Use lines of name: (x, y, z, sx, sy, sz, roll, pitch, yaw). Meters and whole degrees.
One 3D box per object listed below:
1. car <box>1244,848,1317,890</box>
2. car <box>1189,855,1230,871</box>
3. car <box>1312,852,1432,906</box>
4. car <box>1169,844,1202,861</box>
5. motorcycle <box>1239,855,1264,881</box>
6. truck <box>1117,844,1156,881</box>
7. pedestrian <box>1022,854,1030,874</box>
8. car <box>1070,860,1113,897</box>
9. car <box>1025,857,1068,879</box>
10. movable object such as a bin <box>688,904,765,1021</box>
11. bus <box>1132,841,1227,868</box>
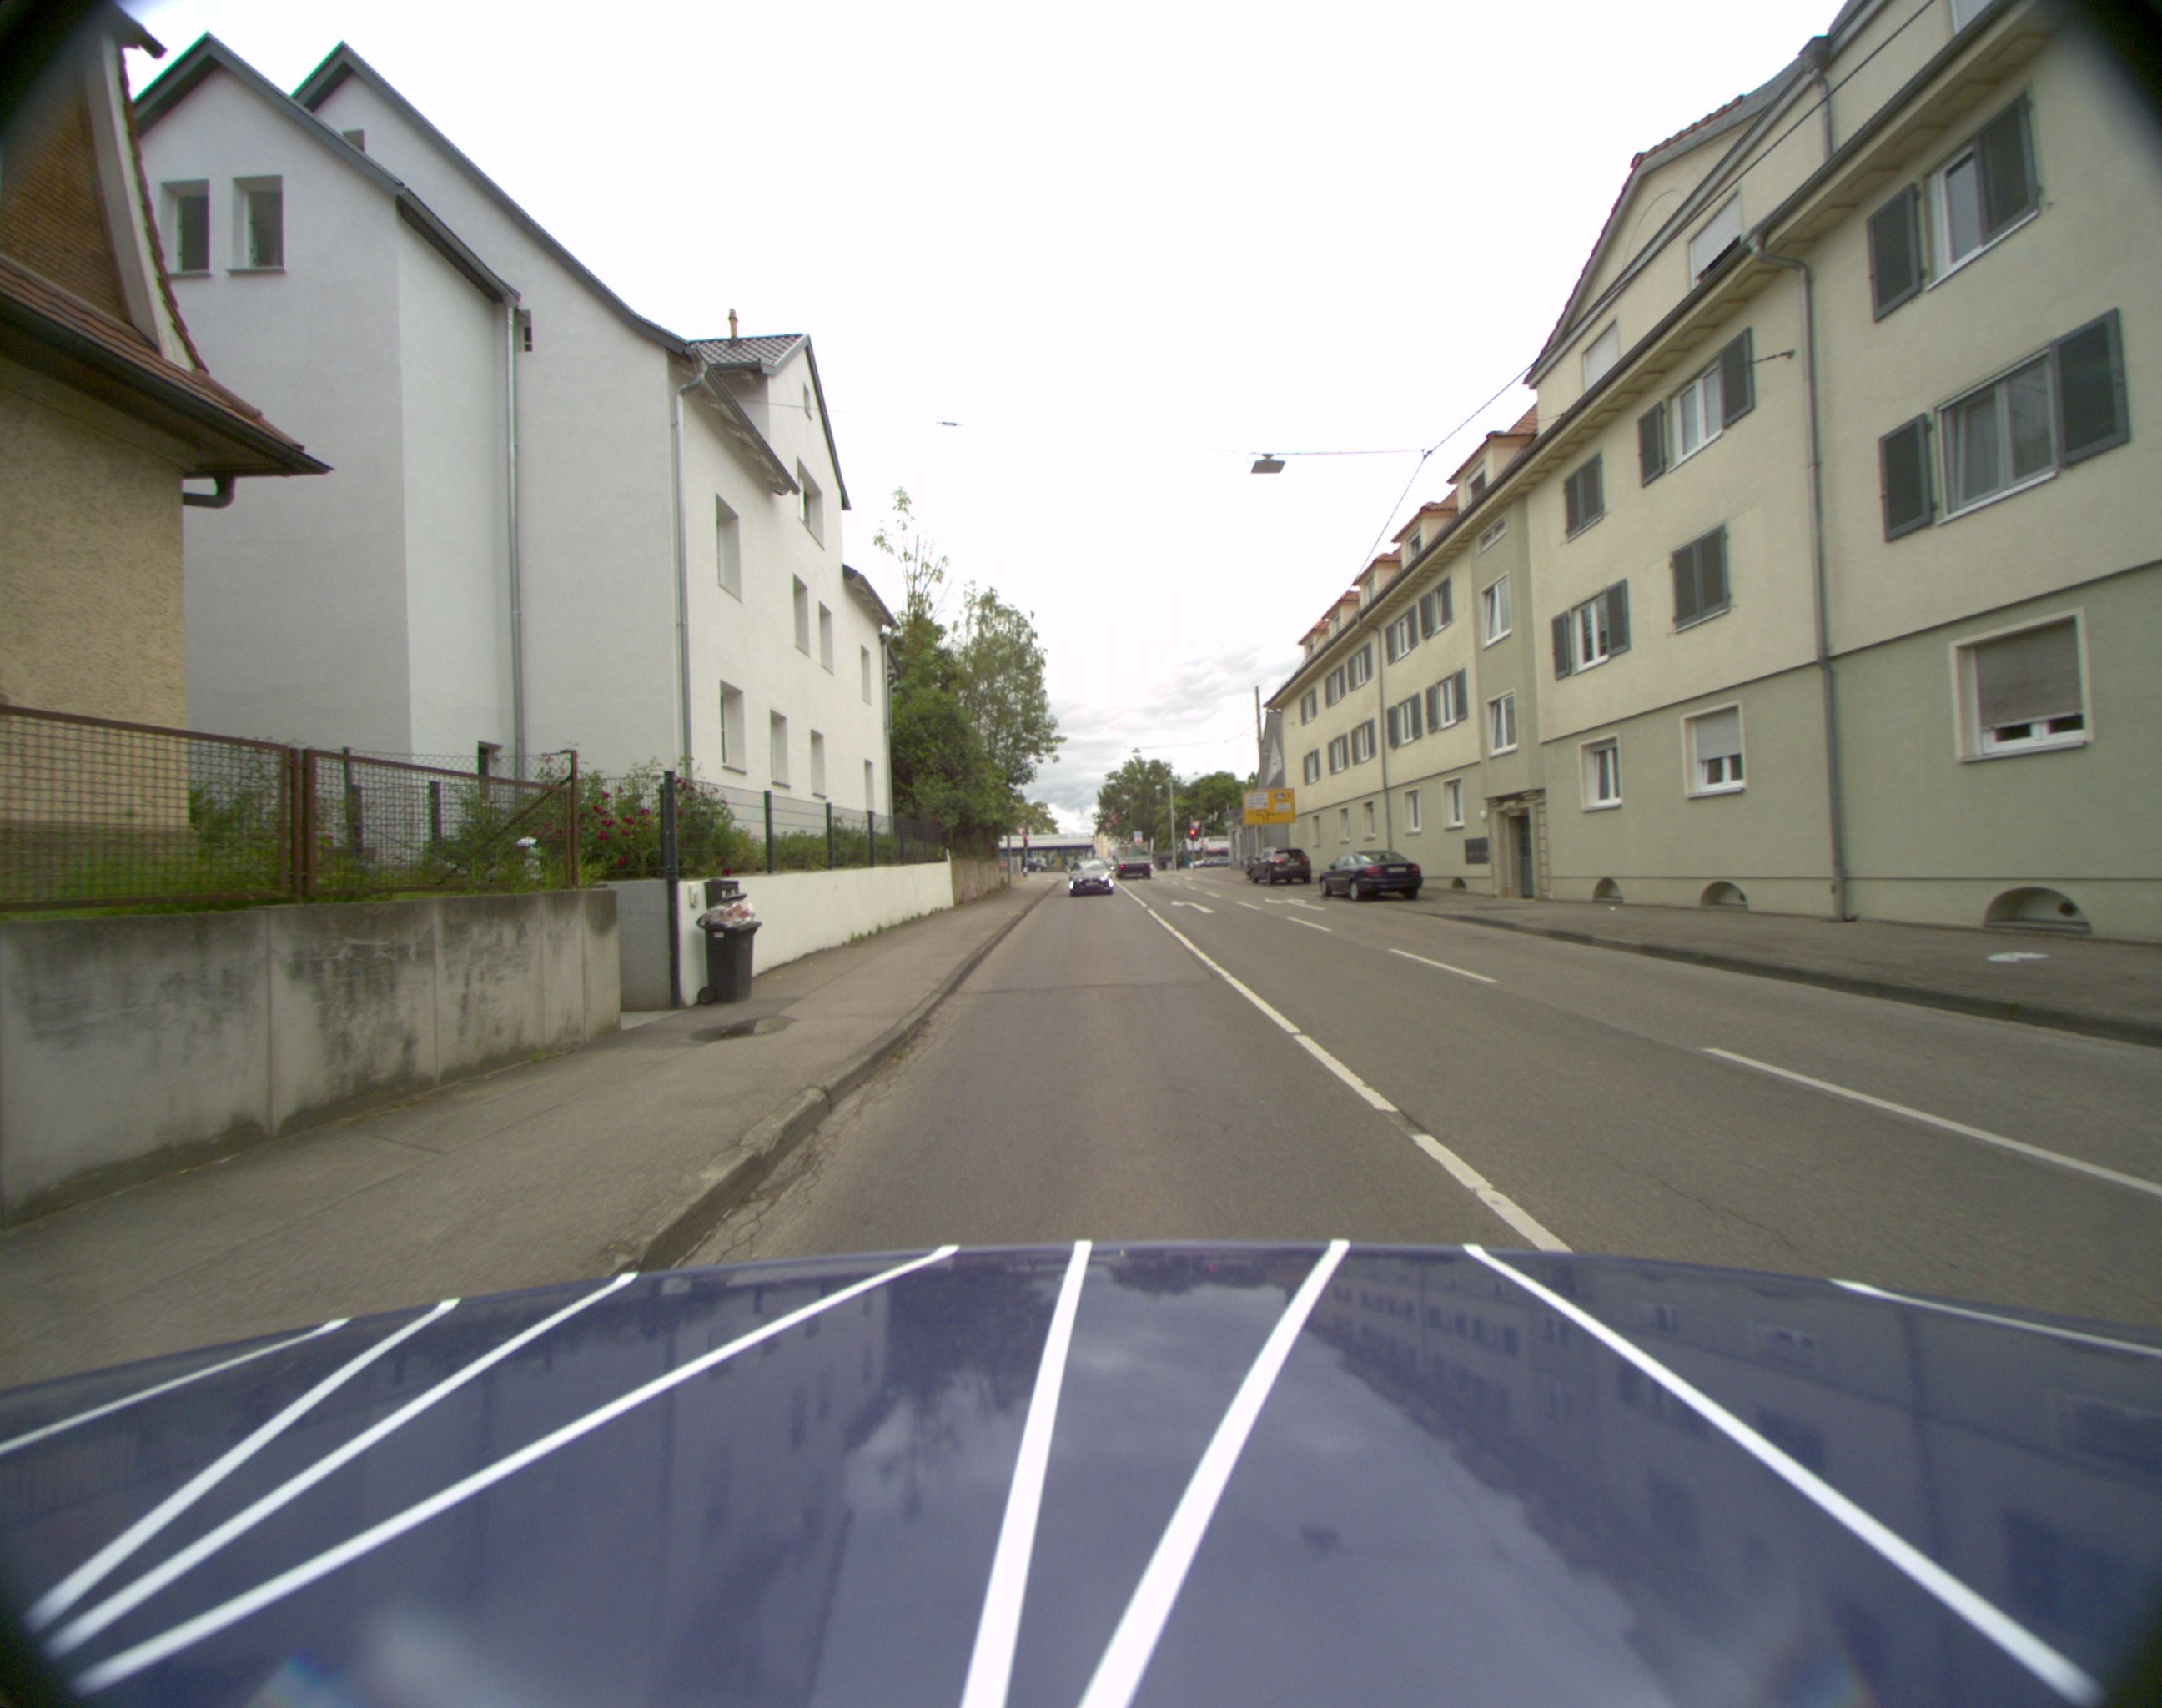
car: (8.676, 0.630, 33.480, 1.826, 1.623, 4.696, -3, 0, -1)
car: (13.652, 0.959, 81.059, 3.997, 1.641, 2.000, -1, 0, -1)
car: (8.535, 0.673, 22.794, 1.715, 1.395, 4.845, -2, 0, 0)
car: (13.988, -0.148, 101.741, 3.998, 2.177, 1.999, -1, 0, -4)
motorcycle: (8.643, 0.695, 38.568, 0.627, 1.283, 2.230, -4, 0, -1)
truck: (3.555, 0.526, 50.001, 2.126, 2.188, 6.590, -2, 0, 1)
pedestrian: (-4.267, 0.778, 58.667, 0.553, 1.581, 0.672, 1, 0, -2)
car: (0.398, 0.955, 31.105, 1.646, 1.390, 3.781, -1, 0, 0)
car: (-3.325, 1.308, 73.383, 3.998, 2.002, 1.999, -2, 0, -2)
movable object such as a bin: (-3.847, 1.159, 8.276, 0.529, 1.171, 0.634, 1, 0, -1)
bus: (12.417, 0.061, 96.506, 11.845, 3.043, 2.001, -2, -2, 4)
